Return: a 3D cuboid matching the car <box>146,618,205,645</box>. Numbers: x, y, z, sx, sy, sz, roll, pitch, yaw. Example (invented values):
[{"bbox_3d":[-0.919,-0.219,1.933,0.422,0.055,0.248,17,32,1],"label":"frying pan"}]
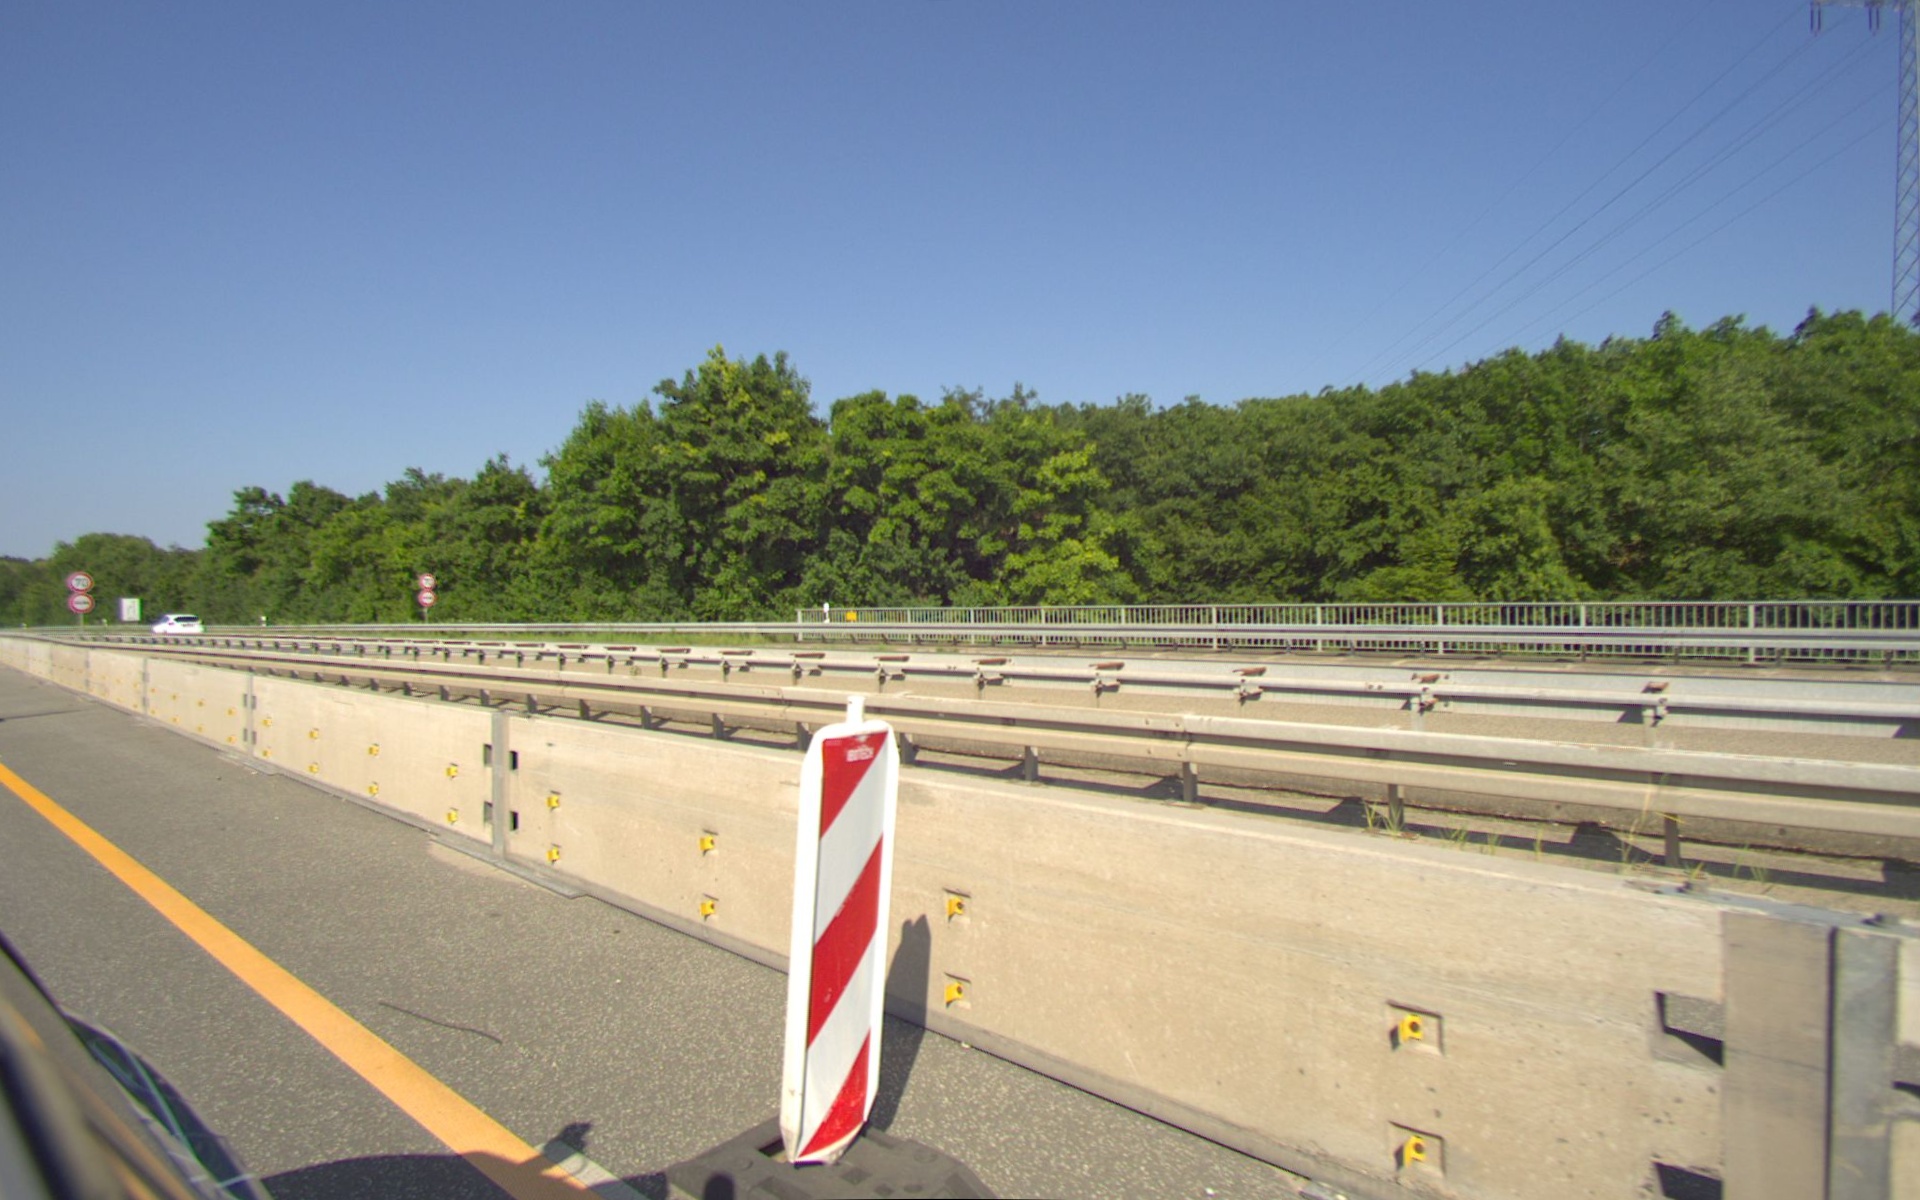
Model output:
[{"bbox_3d":[-43.500,1.721,56.058,4.549,1.349,1.721,-1,0,41],"label":"car"}]
